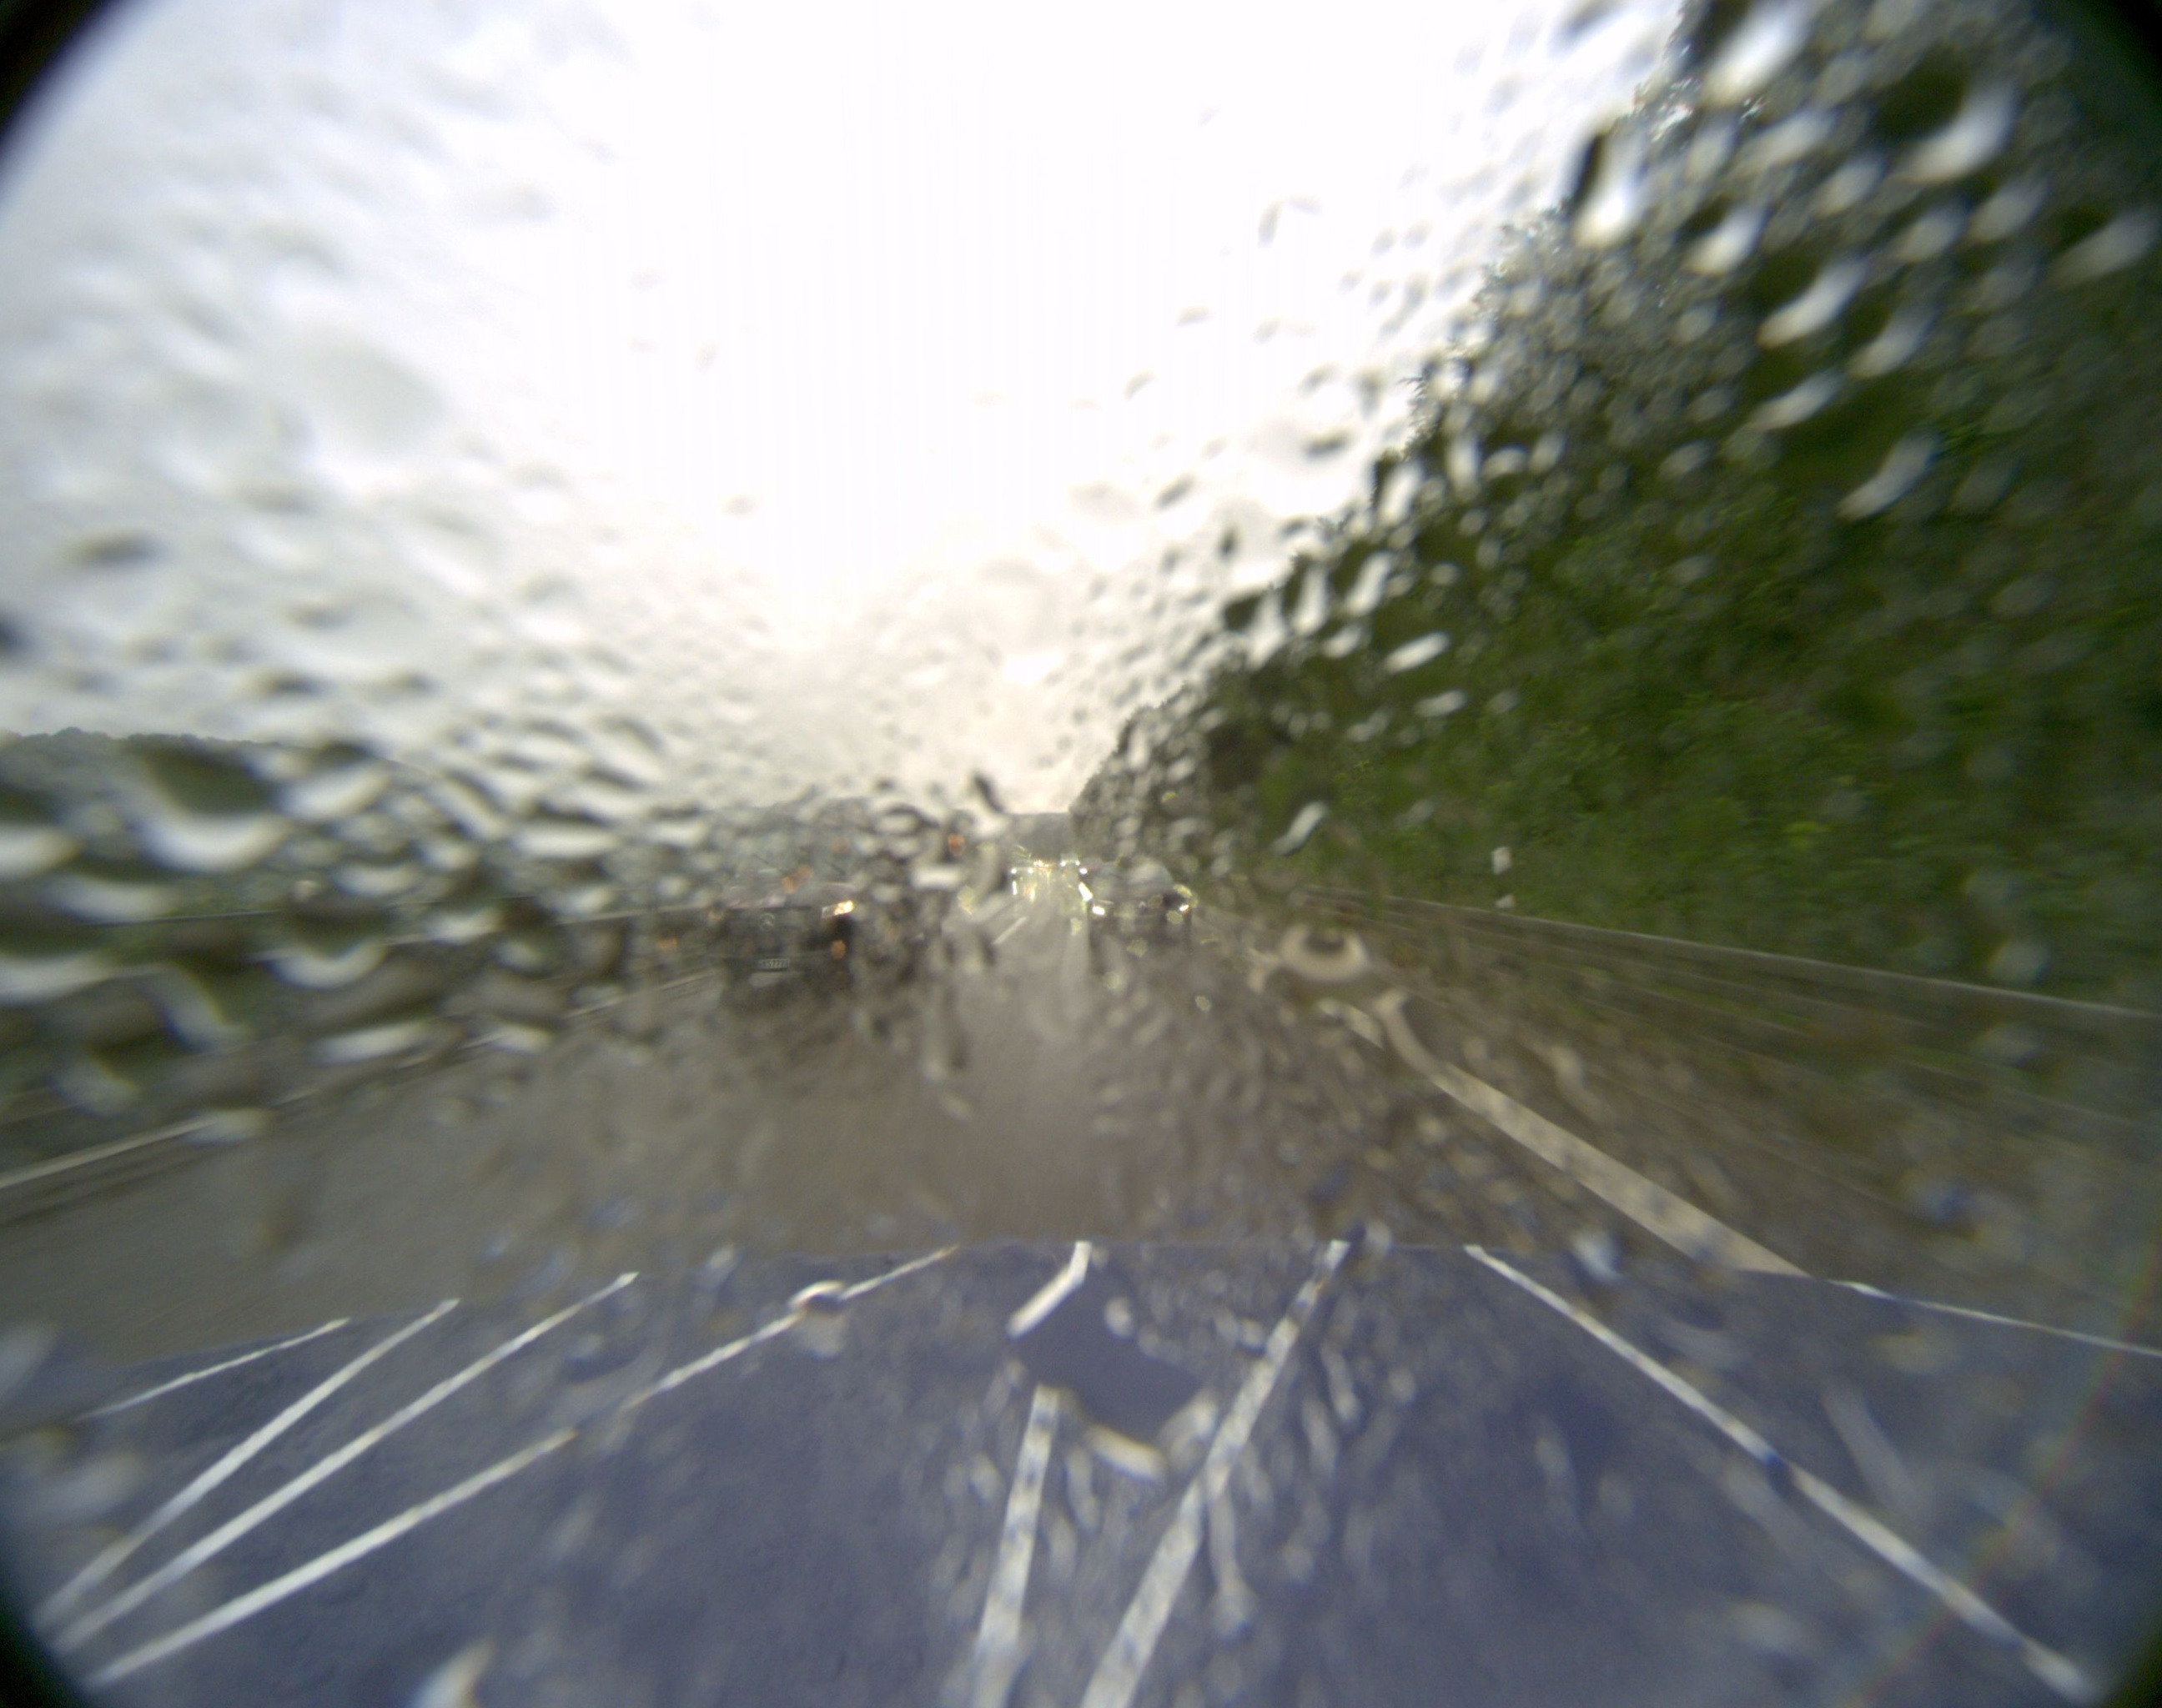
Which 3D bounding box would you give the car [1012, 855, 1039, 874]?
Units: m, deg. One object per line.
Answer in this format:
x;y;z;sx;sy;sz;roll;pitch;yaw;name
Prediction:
-4.510;0.827;62.289;1.991;1.407;4.563;-1;0;-2;car

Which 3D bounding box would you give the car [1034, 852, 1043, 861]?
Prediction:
-8.536;0.522;152.161;1.577;1.809;3.505;1;1;-6;car

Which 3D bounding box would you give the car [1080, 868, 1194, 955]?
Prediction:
0.953;0.982;14.590;1.839;1.316;4.135;-2;0;1;car

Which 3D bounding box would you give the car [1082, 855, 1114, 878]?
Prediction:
1.008;0.771;47.515;1.713;1.316;3.945;-2;-1;-2;car

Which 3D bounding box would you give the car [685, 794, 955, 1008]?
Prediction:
-3.649;0.545;12.373;1.998;2.479;6.704;-2;0;0;car

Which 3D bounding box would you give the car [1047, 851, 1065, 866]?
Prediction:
-3.075;0.525;92.770;1.806;1.723;3.763;-1;0;-6;car

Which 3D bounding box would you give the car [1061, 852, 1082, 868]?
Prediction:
-1.043;0.616;79.342;1.907;1.545;4.562;-1;0;-4;car
